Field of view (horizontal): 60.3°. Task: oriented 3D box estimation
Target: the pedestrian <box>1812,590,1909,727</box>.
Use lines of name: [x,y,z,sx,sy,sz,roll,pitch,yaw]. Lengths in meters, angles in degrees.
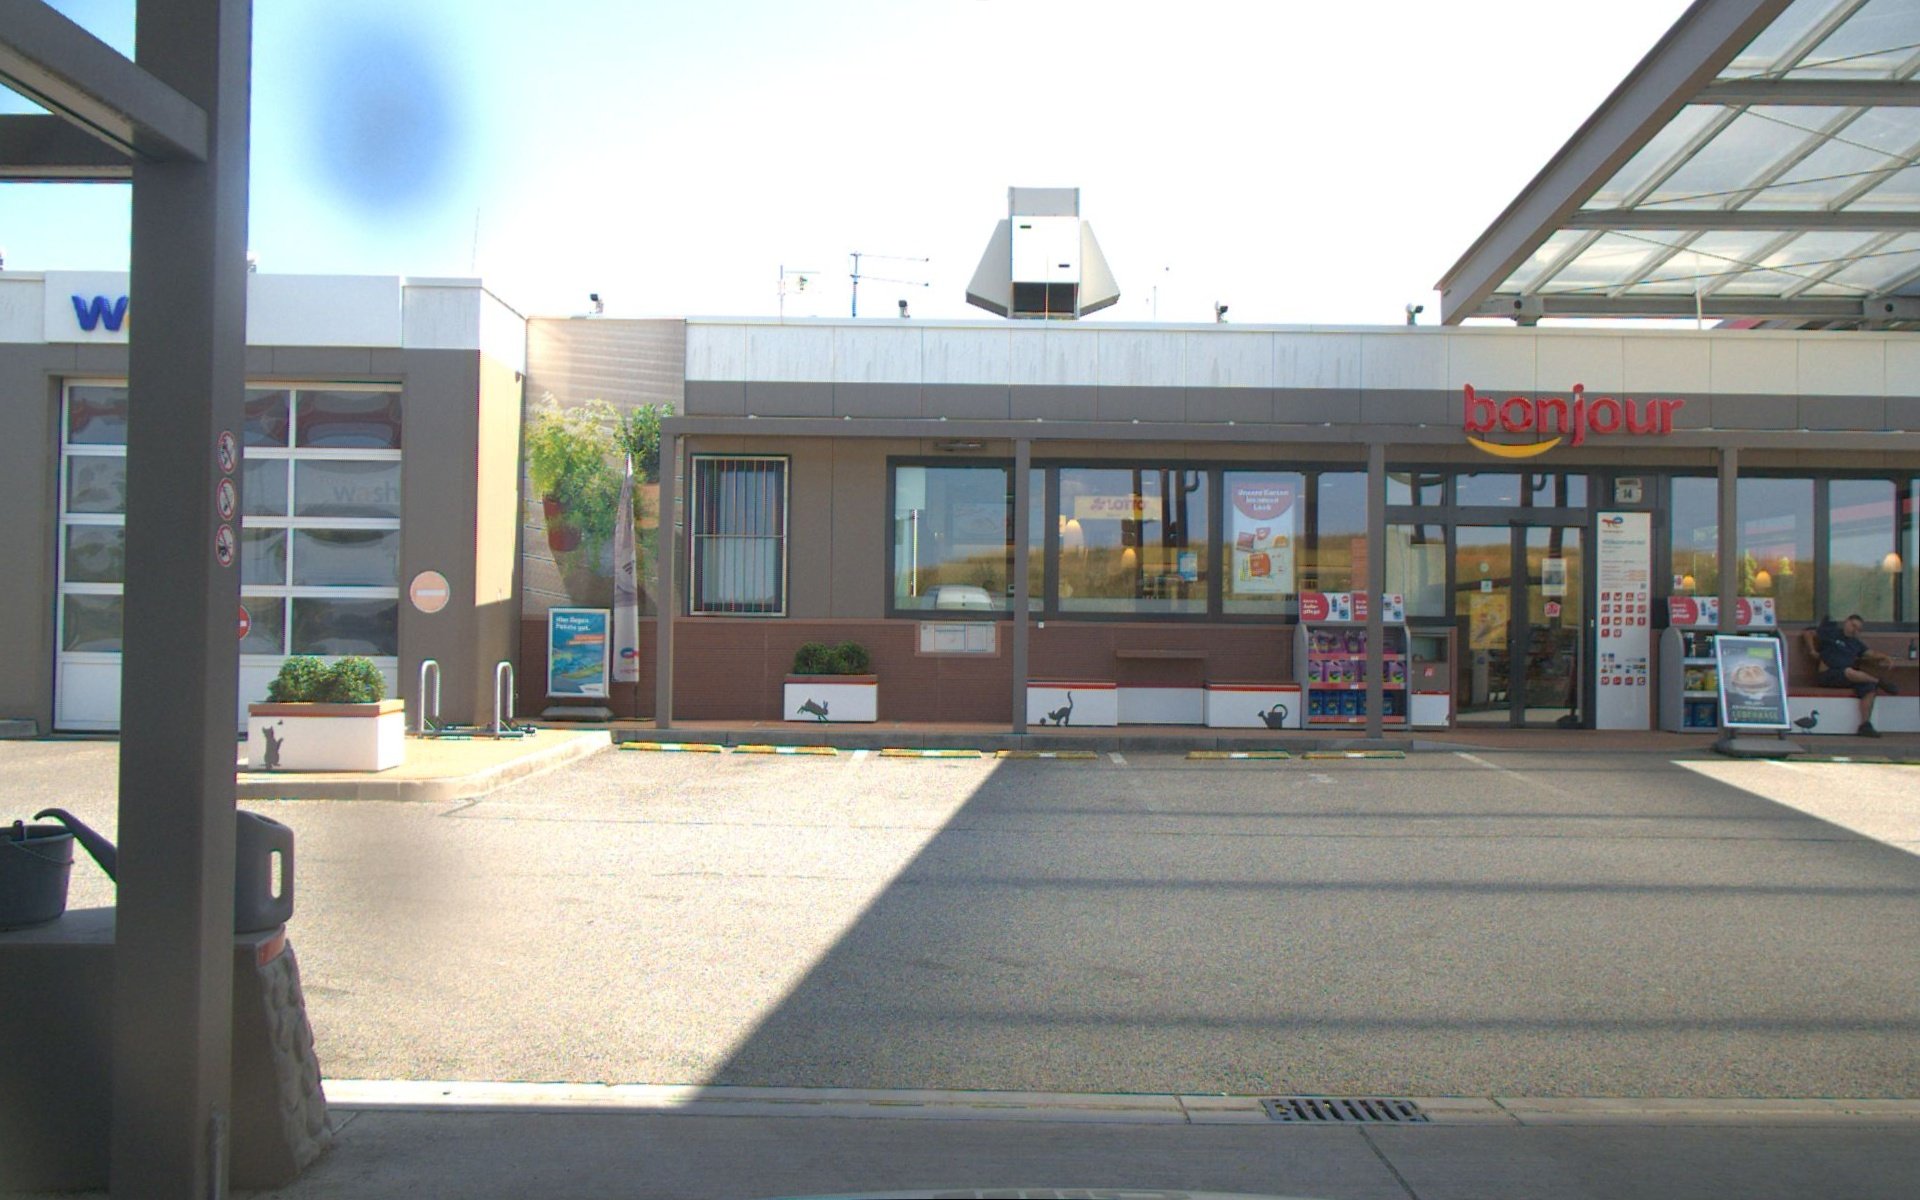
pedestrian: [9.742,0.624,17.906,0.687,1.457,0.672,0,0,-1]
